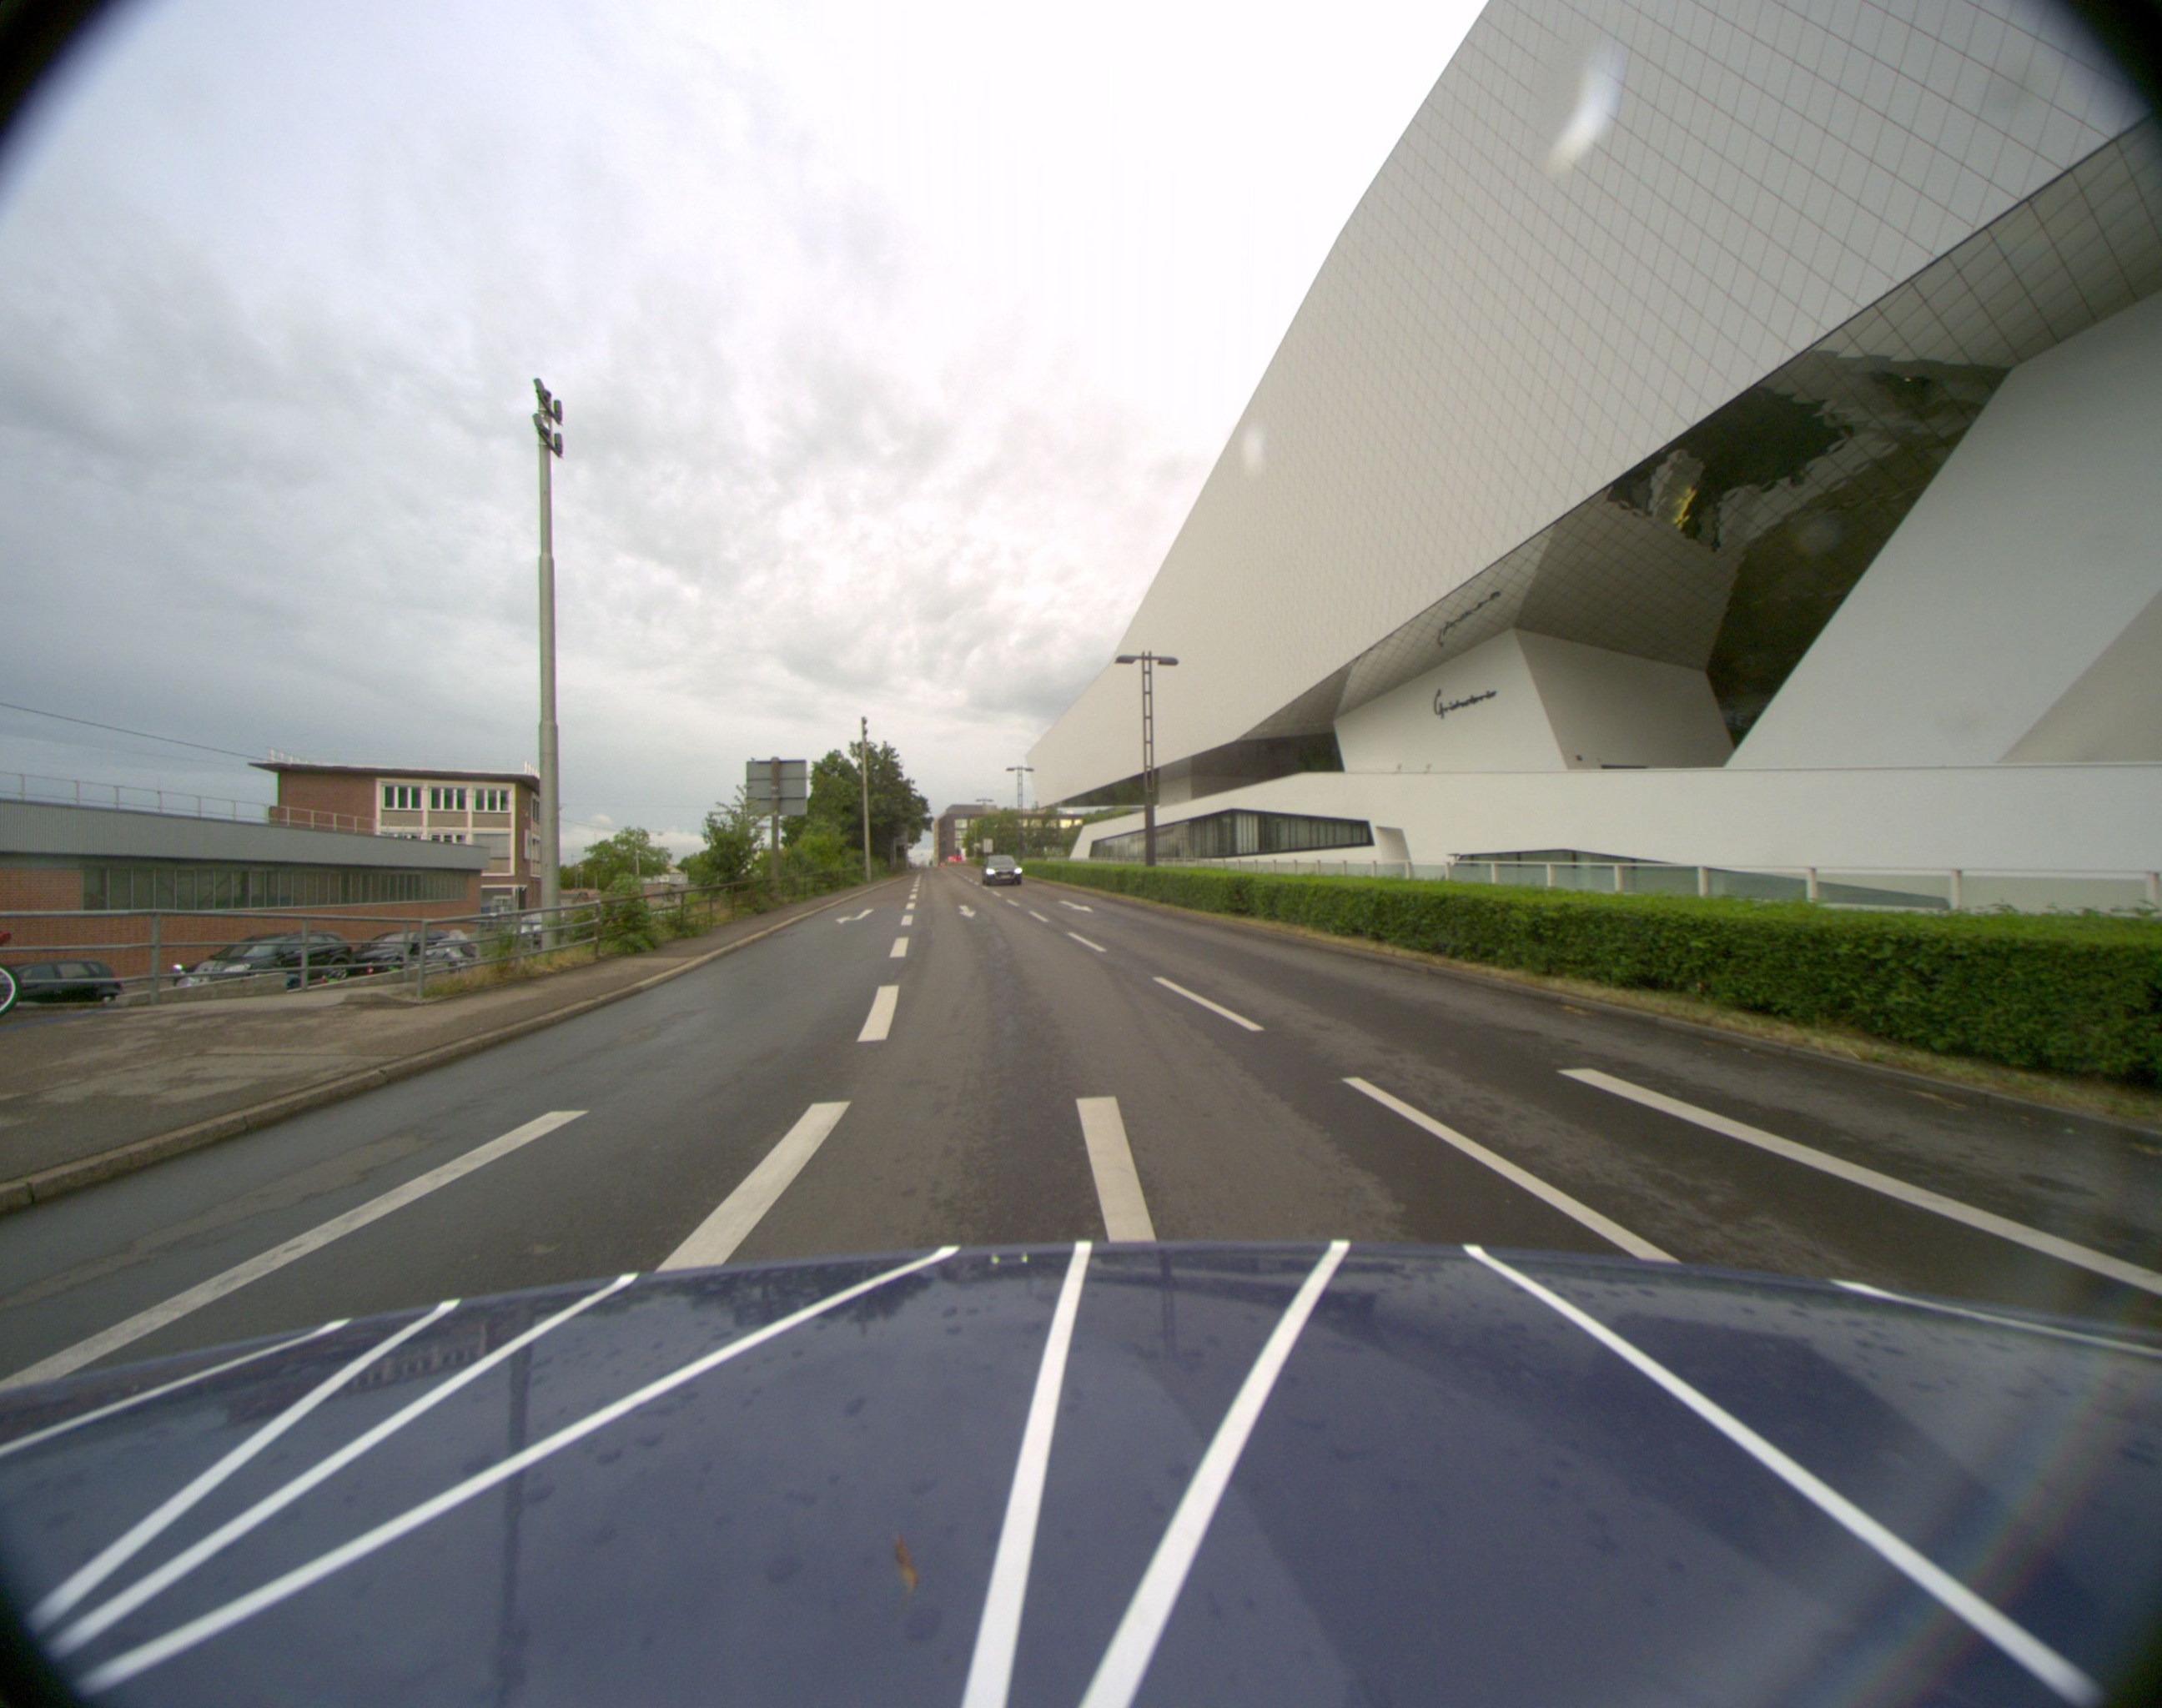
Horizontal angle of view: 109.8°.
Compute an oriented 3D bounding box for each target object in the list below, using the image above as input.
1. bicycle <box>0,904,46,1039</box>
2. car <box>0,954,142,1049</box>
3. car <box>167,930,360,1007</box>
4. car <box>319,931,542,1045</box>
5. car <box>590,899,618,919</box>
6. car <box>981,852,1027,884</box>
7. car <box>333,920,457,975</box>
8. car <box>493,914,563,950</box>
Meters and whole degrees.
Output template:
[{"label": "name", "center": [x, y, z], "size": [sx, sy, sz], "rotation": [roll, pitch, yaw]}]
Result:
[{"label": "bicycle", "center": [-10.583, 1.066, 6.517], "size": [1.935, 1.171, 0.598], "rotation": [-1, 1, -26]}, {"label": "car", "center": [-23.214, 3.228, 16.289], "size": [1.704, 1.618, 3.927], "rotation": [-1, 0, -11]}, {"label": "car", "center": [-24.370, 3.329, 22.921], "size": [1.638, 1.621, 4.425], "rotation": [-1, 0, -12]}, {"label": "car", "center": [-12.788, 2.539, 15.289], "size": [1.704, 1.546, 3.853], "rotation": [-1, 0, -12]}, {"label": "car", "center": [-42.020, 4.823, 66.996], "size": [1.670, 1.387, 3.992], "rotation": [-2, 0, -27]}, {"label": "car", "center": [-4.183, 0.713, 40.613], "size": [1.843, 1.574, 4.284], "rotation": [-1, 0, -13]}, {"label": "car", "center": [-25.679, 3.436, 28.633], "size": [1.704, 1.546, 3.853], "rotation": [-1, 0, -12]}, {"label": "car", "center": [-30.010, 4.210, 41.372], "size": [1.704, 1.546, 3.852], "rotation": [-1, 0, -14]}]
